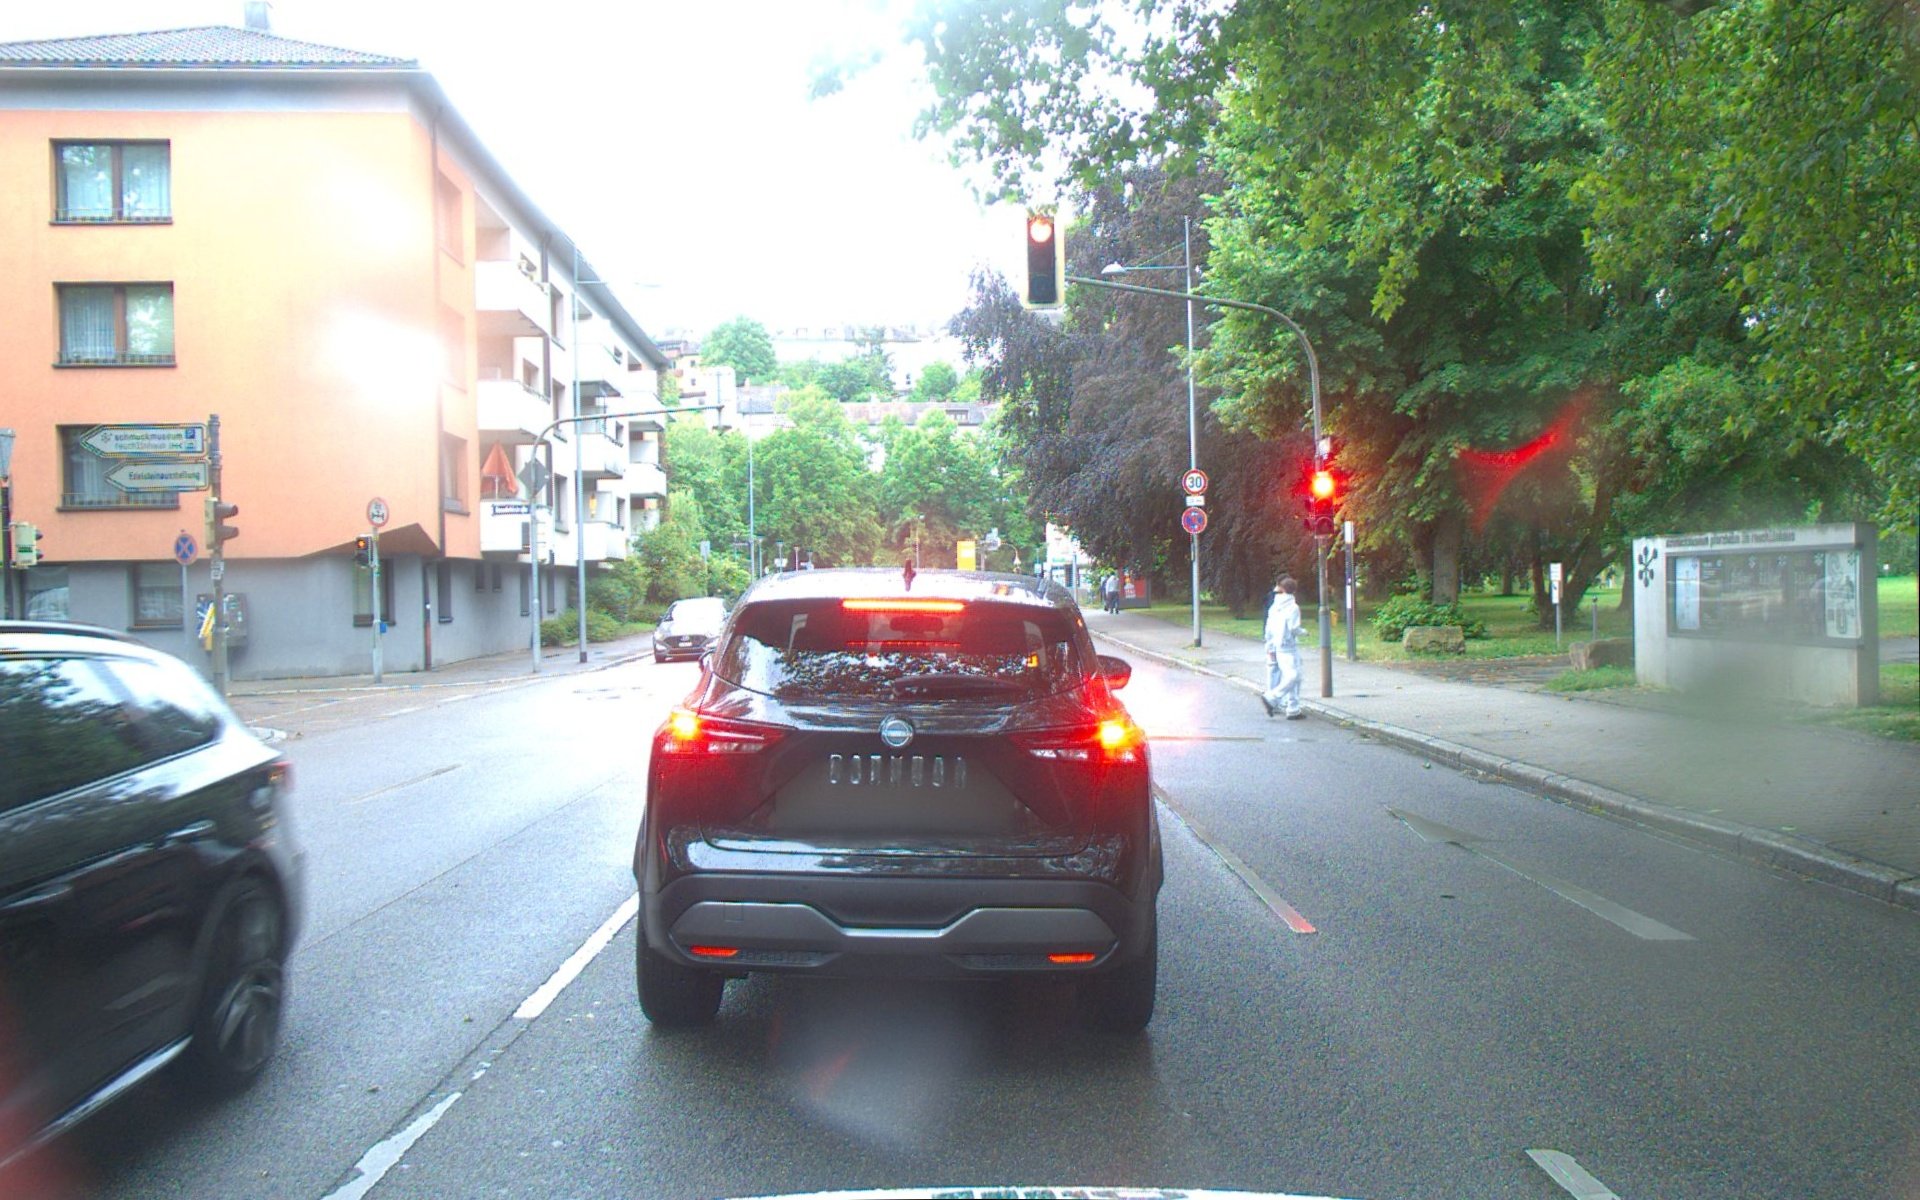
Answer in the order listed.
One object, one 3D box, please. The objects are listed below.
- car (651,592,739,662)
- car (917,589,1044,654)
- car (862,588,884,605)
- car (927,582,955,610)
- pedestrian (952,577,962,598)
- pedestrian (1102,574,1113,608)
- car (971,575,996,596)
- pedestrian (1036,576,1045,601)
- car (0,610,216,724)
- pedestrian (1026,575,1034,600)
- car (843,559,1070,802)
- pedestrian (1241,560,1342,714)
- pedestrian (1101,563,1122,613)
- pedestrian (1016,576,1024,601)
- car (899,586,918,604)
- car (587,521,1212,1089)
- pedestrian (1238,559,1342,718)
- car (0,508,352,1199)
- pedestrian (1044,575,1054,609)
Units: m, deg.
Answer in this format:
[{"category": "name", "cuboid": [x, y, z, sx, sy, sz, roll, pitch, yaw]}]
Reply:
[{"category": "car", "cuboid": [-6.488, 0.627, 40.786, 1.760, 1.560, 3.864, -2, 0, -4]}, {"category": "car", "cuboid": [0.590, 0.493, 41.255, 1.787, 1.428, 4.653, -2, 0, 18]}, {"category": "car", "cuboid": [-8.270, -0.339, 157.191, 1.930, 1.559, 3.967, -2, 0, -1]}, {"category": "car", "cuboid": [-1.123, -0.254, 98.613, 1.601, 1.559, 3.967, -2, 0, -1]}, {"category": "pedestrian", "cuboid": [-0.235, -1.051, 135.173, 0.498, 1.702, 0.658, -2, 0, 27]}, {"category": "pedestrian", "cuboid": [6.562, -0.406, 73.593, 0.382, 1.528, 0.559, -2, 0, -1]}, {"category": "car", "cuboid": [2.088, -1.302, 146.707, 1.952, 1.765, 4.002, 1, 0, 4]}, {"category": "pedestrian", "cuboid": [5.857, -0.844, 120.338, 0.498, 1.833, 0.619, -2, 0, -2]}, {"category": "car", "cuboid": [-13.640, 1.010, 25.375, 3.794, 1.560, 1.793, -2, 0, -17]}, {"category": "pedestrian", "cuboid": [5.079, -0.904, 119.664, 0.498, 1.833, 0.659, -2, 0, -2]}, {"category": "car", "cuboid": [-0.054, 0.595, 14.337, 1.664, 1.776, 3.640, -2, 0, -1]}, {"category": "pedestrian", "cuboid": [4.297, 0.474, 21.474, 1.017, 1.908, 0.656, -3, 0, -11]}, {"category": "pedestrian", "cuboid": [6.286, -0.501, 68.720, 0.710, 2.049, 0.851, -2, 0, -1]}, {"category": "pedestrian", "cuboid": [4.349, -0.828, 120.468, 0.498, 1.833, 0.619, -2, 0, -1]}, {"category": "car", "cuboid": [-4.716, -0.504, 150.779, 1.601, 1.559, 3.967, -2, 0, -1]}, {"category": "car", "cuboid": [-0.202, 0.609, 6.996, 1.874, 1.709, 3.999, 0, 0, -1]}, {"category": "pedestrian", "cuboid": [4.130, 0.469, 20.719, 1.017, 1.908, 0.656, -3, 0, -11]}, {"category": "car", "cuboid": [-2.982, 0.660, 3.661, 1.808, 1.654, 4.136, -2, 0, -2]}, {"category": "pedestrian", "cuboid": [4.904, -0.444, 91.210, 0.498, 1.833, 0.619, -2, 0, -1]}]
